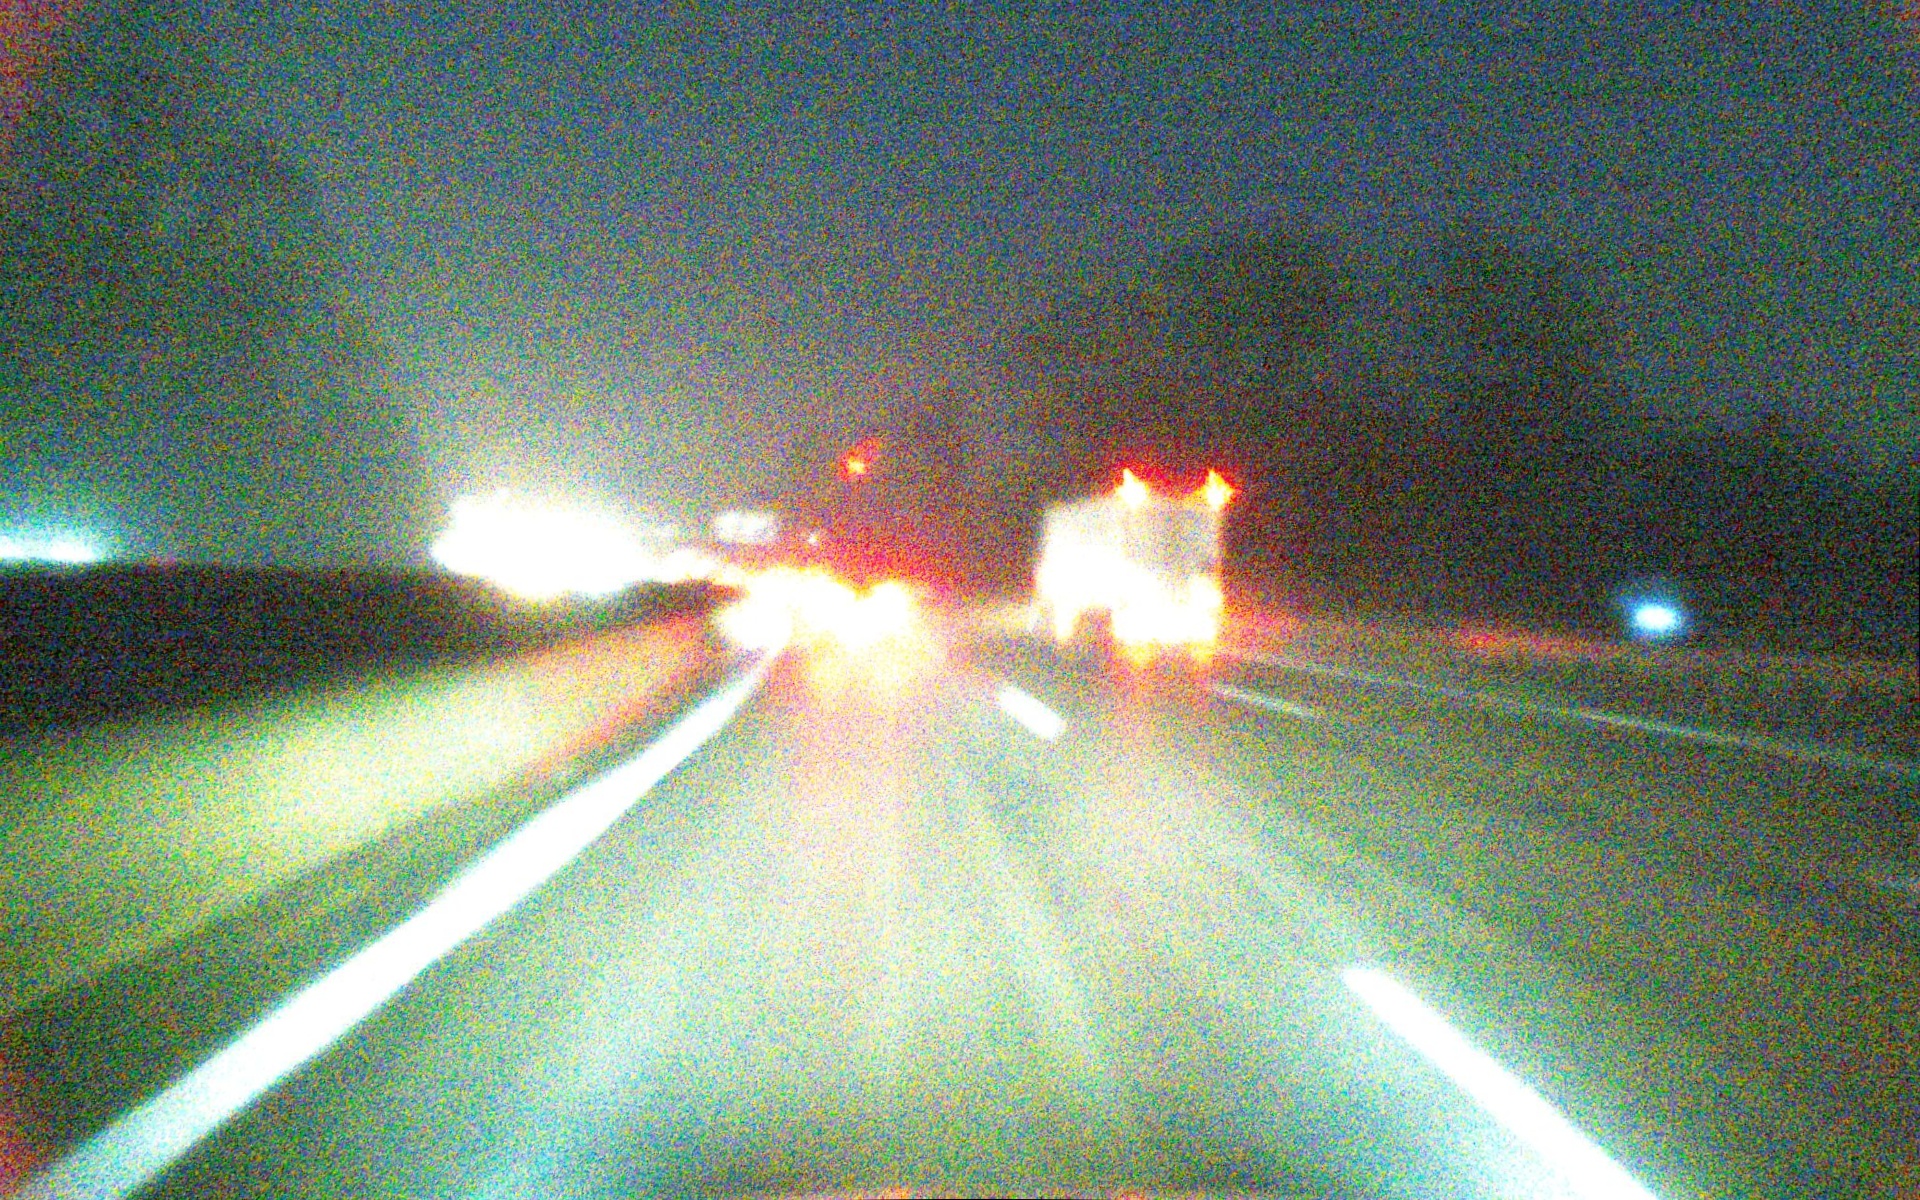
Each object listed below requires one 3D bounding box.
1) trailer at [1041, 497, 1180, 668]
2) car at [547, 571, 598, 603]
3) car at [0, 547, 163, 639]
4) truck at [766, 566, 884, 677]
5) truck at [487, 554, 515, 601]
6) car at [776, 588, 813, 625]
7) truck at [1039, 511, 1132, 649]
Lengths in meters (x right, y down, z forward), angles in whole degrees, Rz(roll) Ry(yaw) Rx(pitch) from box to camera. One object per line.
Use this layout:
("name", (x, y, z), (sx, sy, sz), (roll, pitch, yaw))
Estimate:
("trailer", (4.150, -0.528, 48.728), (2.683, 4.322, 13.370), (-1, 1, -1))
("car", (-21.203, -0.738, 90.643), (1.955, 1.503, 3.997), (5, 1, -4))
("car", (-18.712, -0.189, 34.773), (1.954, 1.632, 3.999), (5, 1, -2))
("truck", (-2.968, 0.388, 37.875), (2.102, 2.112, 6.603), (5, 1, -1))
("truck", (-55.670, -2.744, 200.363), (2.709, 5.184, 5.856), (5, 1, -17))
("car", (-9.402, 0.344, 93.828), (1.956, 2.049, 3.993), (1, 0, -8))
("truck", (4.128, -0.642, 55.218), (2.655, 4.315, 5.293), (2, 0, 1))
